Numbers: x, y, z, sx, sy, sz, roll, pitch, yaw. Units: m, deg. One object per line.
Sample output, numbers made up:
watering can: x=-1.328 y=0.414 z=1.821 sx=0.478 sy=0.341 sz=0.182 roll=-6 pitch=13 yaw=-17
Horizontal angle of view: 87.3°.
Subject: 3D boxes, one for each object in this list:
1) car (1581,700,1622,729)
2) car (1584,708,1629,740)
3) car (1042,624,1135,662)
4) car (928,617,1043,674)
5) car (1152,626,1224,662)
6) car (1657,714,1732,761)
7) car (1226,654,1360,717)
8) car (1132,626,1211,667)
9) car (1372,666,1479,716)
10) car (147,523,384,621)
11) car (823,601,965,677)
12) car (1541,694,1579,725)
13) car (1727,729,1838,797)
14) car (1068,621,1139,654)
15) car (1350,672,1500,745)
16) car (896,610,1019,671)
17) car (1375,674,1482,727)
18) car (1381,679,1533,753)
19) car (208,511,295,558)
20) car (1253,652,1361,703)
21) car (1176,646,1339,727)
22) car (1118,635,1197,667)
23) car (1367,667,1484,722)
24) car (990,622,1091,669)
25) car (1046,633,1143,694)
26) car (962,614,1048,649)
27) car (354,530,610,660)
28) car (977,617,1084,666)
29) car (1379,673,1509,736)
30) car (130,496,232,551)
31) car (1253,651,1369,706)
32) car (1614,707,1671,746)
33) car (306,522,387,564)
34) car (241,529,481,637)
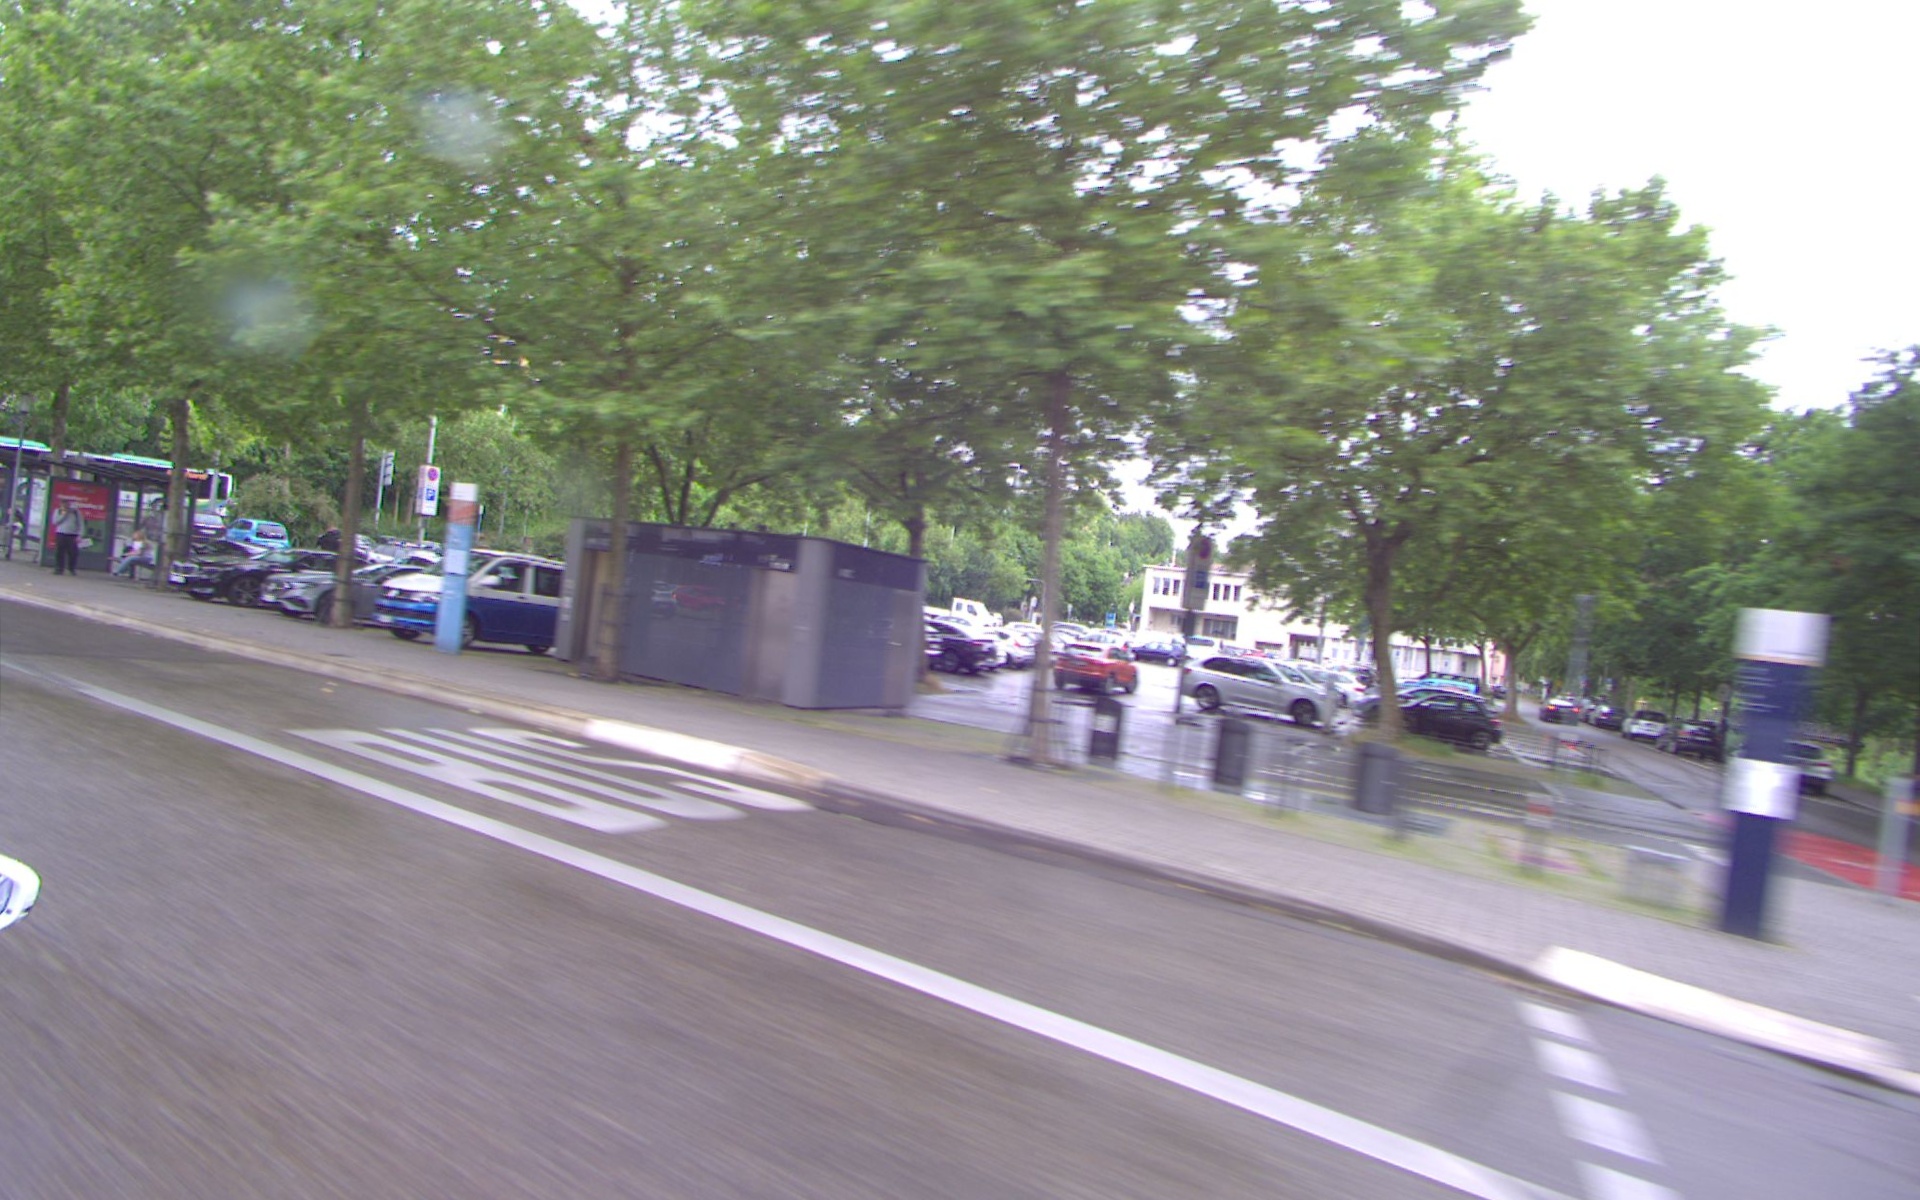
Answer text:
car: x=42.158 y=7.487 z=66.142 sx=1.966 sy=1.564 sz=3.995 roll=7 pitch=-2 yaw=31
car: x=39.048 y=7.456 z=60.823 sx=1.966 sy=1.564 sz=3.995 roll=7 pitch=-2 yaw=31
car: x=6.967 y=2.337 z=54.402 sx=4.509 sy=1.453 sz=2.001 roll=7 pitch=-1 yaw=20
car: x=0.982 y=1.767 z=39.374 sx=3.932 sy=1.670 sz=1.823 roll=6 pitch=-1 yaw=30
car: x=15.922 y=3.083 z=70.257 sx=4.509 sy=1.869 sz=2.001 roll=7 pitch=-1 yaw=20
car: x=30.568 y=5.677 z=41.980 sx=1.966 sy=1.564 sz=3.995 roll=7 pitch=-2 yaw=31
car: x=12.811 y=3.262 z=38.703 sx=4.513 sy=1.778 sz=1.936 roll=7 pitch=-1 yaw=26
car: x=13.848 y=3.024 z=65.764 sx=4.513 sy=2.037 sz=1.999 roll=7 pitch=-1 yaw=26
car: x=22.822 y=4.466 z=49.411 sx=4.513 sy=1.778 sz=1.936 roll=7 pitch=-1 yaw=26
car: x=-15.795 y=-0.576 z=23.115 sx=1.713 sy=1.525 sz=3.999 roll=7 pitch=-3 yaw=30
car: x=-2.085 y=1.219 z=31.647 sx=3.934 sy=1.924 sz=1.832 roll=4 pitch=-4 yaw=31
car: x=36.028 y=6.574 z=60.476 sx=1.728 sy=1.564 sz=3.995 roll=7 pitch=-2 yaw=31
car: x=24.948 y=4.879 z=30.658 sx=1.859 sy=1.564 sz=3.995 roll=7 pitch=-2 yaw=31
car: x=10.061 y=2.633 z=70.558 sx=4.509 sy=1.674 sz=1.886 roll=7 pitch=-1 yaw=20
car: x=15.445 y=3.554 z=33.606 sx=4.266 sy=1.730 sz=1.806 roll=7 pitch=0 yaw=24
car: x=-0.116 y=1.461 z=36.519 sx=3.932 sy=1.670 sz=1.823 roll=6 pitch=-1 yaw=30
car: x=19.705 y=4.191 z=42.469 sx=3.833 sy=1.606 sz=1.806 roll=7 pitch=0 yaw=24
car: x=15.244 y=3.522 z=31.098 sx=3.943 sy=1.609 sz=1.806 roll=7 pitch=0 yaw=24
car: x=-32.421 y=-2.994 z=46.026 sx=3.586 sy=1.637 sz=1.685 roll=7 pitch=-1 yaw=28
car: x=16.459 y=3.675 z=47.753 sx=4.513 sy=1.778 sz=1.936 roll=7 pitch=-1 yaw=26
car: x=9.214 y=2.640 z=31.213 sx=4.503 sy=1.785 sz=1.806 roll=7 pitch=0 yaw=24
car: x=12.486 y=3.217 z=63.468 sx=4.509 sy=1.453 sz=2.001 roll=7 pitch=-1 yaw=20
car: x=20.902 y=4.227 z=45.261 sx=4.513 sy=1.778 sz=1.936 roll=7 pitch=-1 yaw=26
car: x=3.688 y=2.093 z=46.231 sx=4.127 sy=1.568 sz=1.811 roll=7 pitch=-1 yaw=26
car: x=4.453 y=2.087 z=32.762 sx=1.774 sy=1.641 sz=4.131 roll=7 pitch=-1 yaw=26
car: x=2.622 y=1.841 z=58.858 sx=4.510 sy=1.453 sz=2.001 roll=7 pitch=-1 yaw=21
car: x=-9.256 y=-0.026 z=19.816 sx=1.936 sy=1.946 sz=3.997 roll=7 pitch=-2 yaw=30
car: x=3.065 y=1.817 z=43.782 sx=4.127 sy=1.568 sz=1.811 roll=7 pitch=-1 yaw=26
car: x=18.571 y=3.972 z=38.801 sx=4.266 sy=1.730 sz=1.806 roll=7 pitch=0 yaw=24
car: x=-33.948 y=-3.331 z=43.834 sx=4.153 sy=1.847 sz=1.835 roll=7 pitch=-1 yaw=28
car: x=15.578 y=3.478 z=44.638 sx=4.513 sy=1.778 sz=1.936 roll=7 pitch=-1 yaw=26
car: x=34.329 y=6.335 z=50.707 sx=1.966 sy=1.564 sz=3.995 roll=7 pitch=-2 yaw=31
car: x=-29.901 y=-2.781 z=49.029 sx=3.545 sy=1.586 sz=1.635 roll=7 pitch=0 yaw=28
car: x=-13.038 y=-0.313 z=22.159 sx=1.885 sy=1.667 sz=3.999 roll=7 pitch=-3 yaw=30
